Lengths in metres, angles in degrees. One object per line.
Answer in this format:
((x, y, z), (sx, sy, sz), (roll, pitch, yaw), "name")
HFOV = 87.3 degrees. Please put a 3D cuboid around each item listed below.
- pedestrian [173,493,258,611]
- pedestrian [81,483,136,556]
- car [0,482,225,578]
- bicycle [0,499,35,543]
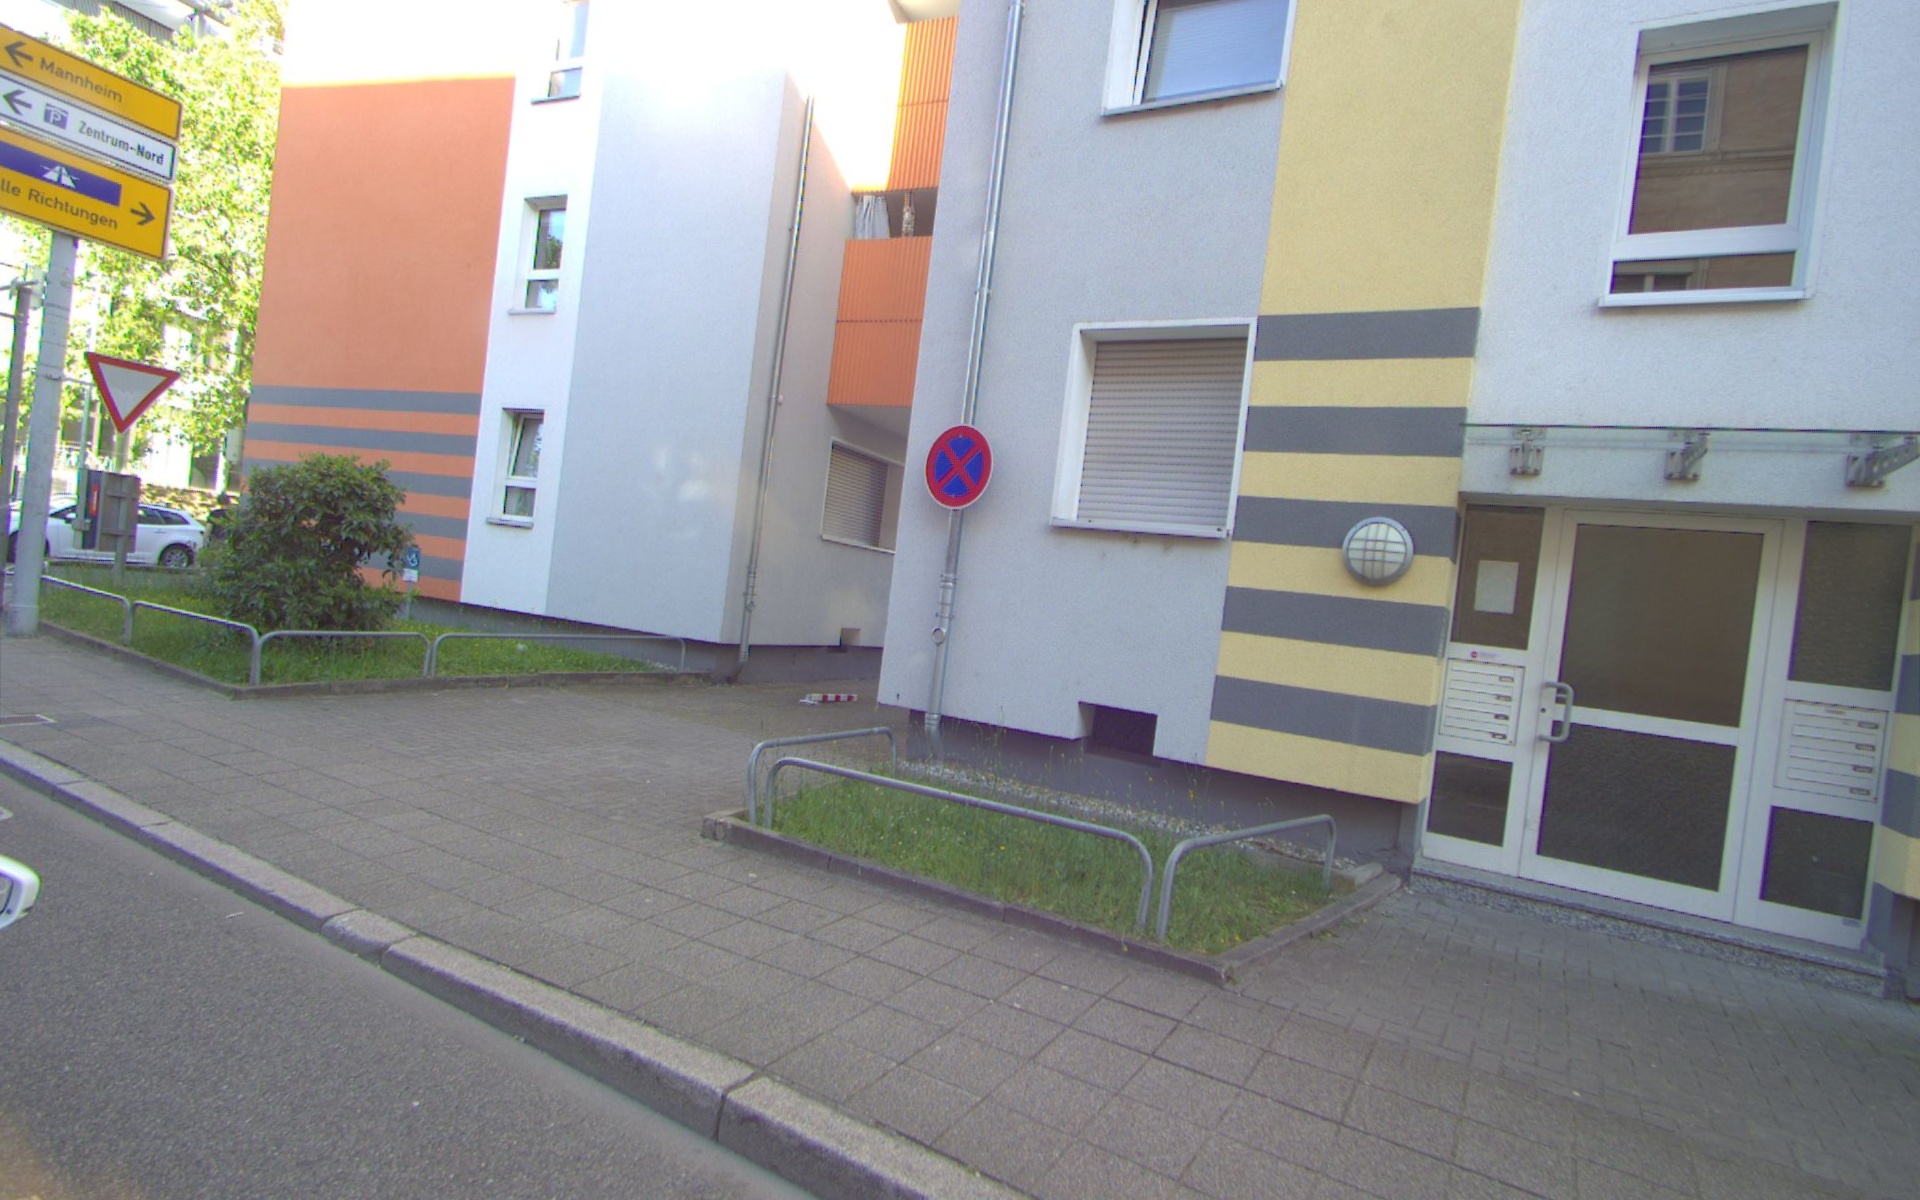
((-12.657, -0.814, 17.112), (0.823, 1.861, 0.708), (8, -1, 32), "pedestrian")
((-23.532, -2.200, 27.827), (0.828, 1.861, 0.704), (8, -1, -28), "pedestrian")
((-18.164, -1.462, 20.693), (1.858, 1.494, 4.544), (7, 0, 21), "car")
((-26.295, -2.224, 27.351), (1.658, 1.063, 0.508), (9, 2, -3), "bicycle")
